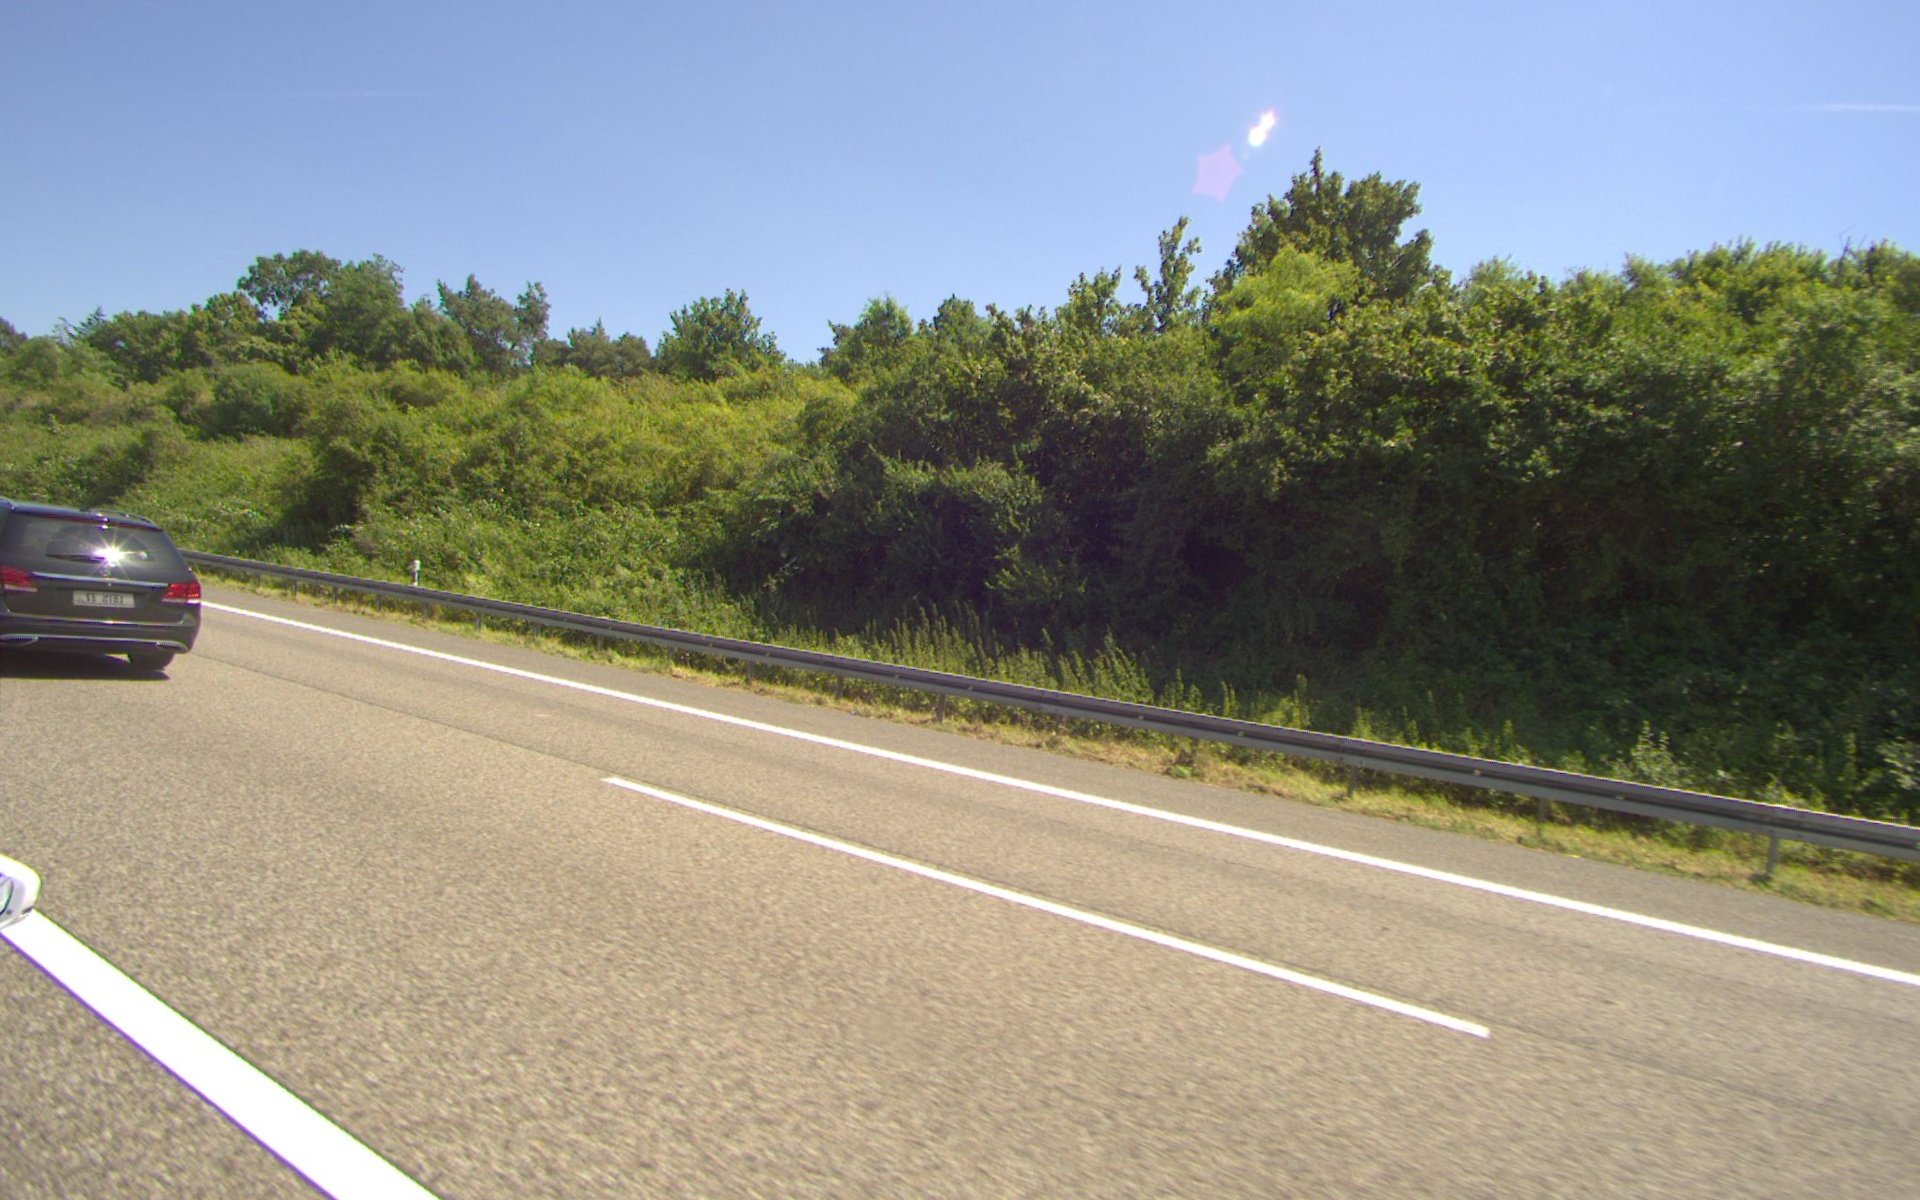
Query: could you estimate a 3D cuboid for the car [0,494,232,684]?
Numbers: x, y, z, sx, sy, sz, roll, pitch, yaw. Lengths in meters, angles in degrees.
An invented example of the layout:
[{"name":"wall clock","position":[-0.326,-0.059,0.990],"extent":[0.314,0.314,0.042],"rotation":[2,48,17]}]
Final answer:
[{"name":"car","position":[-9.401,-0.267,9.930],"extent":[4.659,1.524,1.844],"rotation":[7,-1,31]}]
